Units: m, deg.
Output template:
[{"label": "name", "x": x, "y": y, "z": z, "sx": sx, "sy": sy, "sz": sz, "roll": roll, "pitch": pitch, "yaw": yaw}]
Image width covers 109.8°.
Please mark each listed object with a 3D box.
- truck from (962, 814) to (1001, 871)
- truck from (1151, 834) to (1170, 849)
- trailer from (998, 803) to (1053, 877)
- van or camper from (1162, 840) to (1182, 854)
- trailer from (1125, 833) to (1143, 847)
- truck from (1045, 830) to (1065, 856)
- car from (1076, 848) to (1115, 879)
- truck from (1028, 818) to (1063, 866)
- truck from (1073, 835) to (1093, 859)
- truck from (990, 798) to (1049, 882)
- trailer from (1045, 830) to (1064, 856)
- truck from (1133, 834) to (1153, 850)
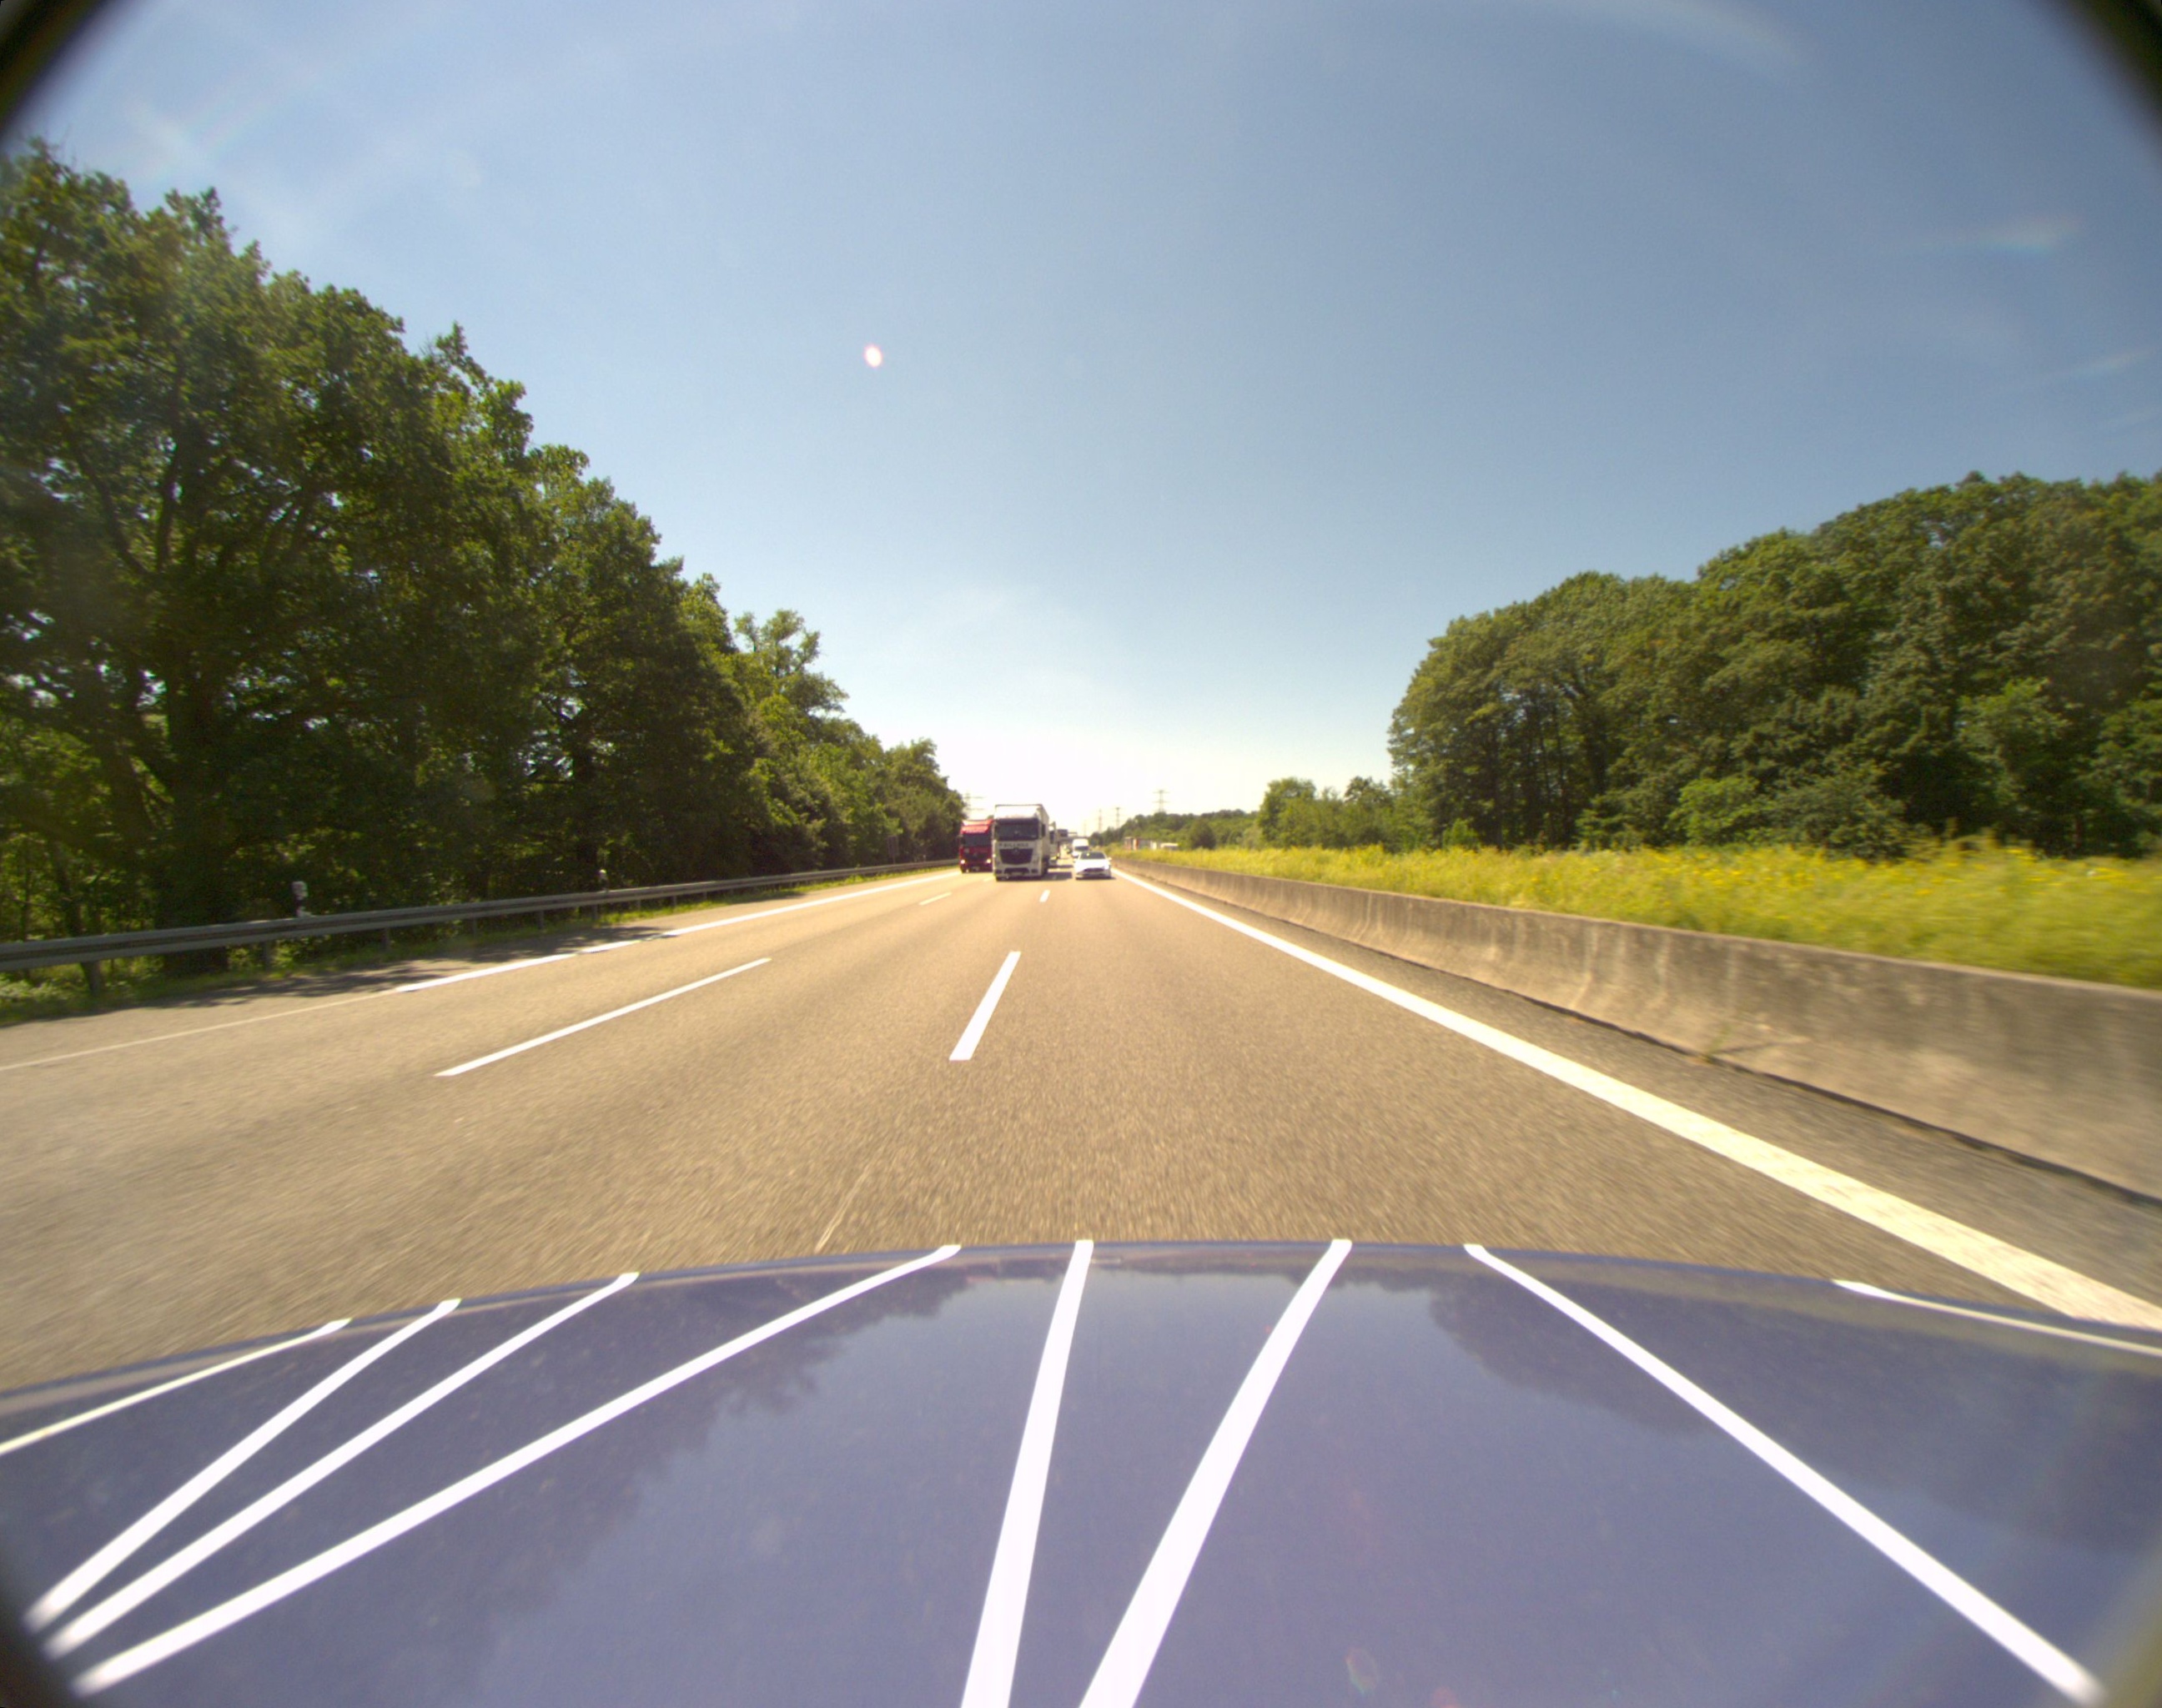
[{"label": "truck", "x": -7.651, "y": -0.862, "z": 58.914, "sx": 2.335, "sy": 4.206, "sz": 4.672, "roll": -1, "pitch": 1, "yaw": -1}, {"label": "truck", "x": 17.018, "y": -2.663, "z": 162.828, "sx": 2.694, "sy": 2.925, "sz": 10.484, "roll": -1, "pitch": 1, "yaw": -1}, {"label": "trailer", "x": -3.369, "y": -0.960, "z": 49.612, "sx": 2.715, "sy": 4.045, "sz": 14.739, "roll": -2, "pitch": 1, "yaw": -1}, {"label": "van or camper", "x": 14.188, "y": -1.091, "z": 119.184, "sx": 2.227, "sy": 2.002, "sz": 5.885, "roll": -2, "pitch": 1, "yaw": -2}, {"label": "trailer", "x": 11.653, "y": -3.064, "z": 167.919, "sx": 2.649, "sy": 2.952, "sz": 14.228, "roll": -1, "pitch": 1, "yaw": -1}, {"label": "truck", "x": -4.138, "y": -1.728, "z": 119.727, "sx": 2.949, "sy": 3.963, "sz": 6.098, "roll": -2, "pitch": 1, "yaw": -3}, {"label": "car", "x": 0.708, "y": 0.461, "z": 39.979, "sx": 1.788, "sy": 1.462, "sz": 3.998, "roll": -1, "pitch": 1, "yaw": -3}, {"label": "truck", "x": -3.081, "y": -1.035, "z": 66.731, "sx": 2.807, "sy": 3.984, "sz": 6.018, "roll": -1, "pitch": 1, "yaw": -2}, {"label": "truck", "x": 0.234, "y": -0.892, "z": 92.617, "sx": 2.192, "sy": 2.842, "sz": 5.501, "roll": -1, "pitch": 1, "yaw": -3}, {"label": "truck", "x": -3.184, "y": -0.771, "z": 40.828, "sx": 2.707, "sy": 4.071, "sz": 6.450, "roll": -2, "pitch": 2, "yaw": -1}, {"label": "trailer", "x": -4.523, "y": -1.875, "z": 128.026, "sx": 2.946, "sy": 3.995, "sz": 16.192, "roll": -2, "pitch": 1, "yaw": -3}, {"label": "truck", "x": 9.604, "y": -1.904, "z": 118.564, "sx": 2.317, "sy": 2.313, "sz": 6.077, "roll": -1, "pitch": 1, "yaw": -3}]
